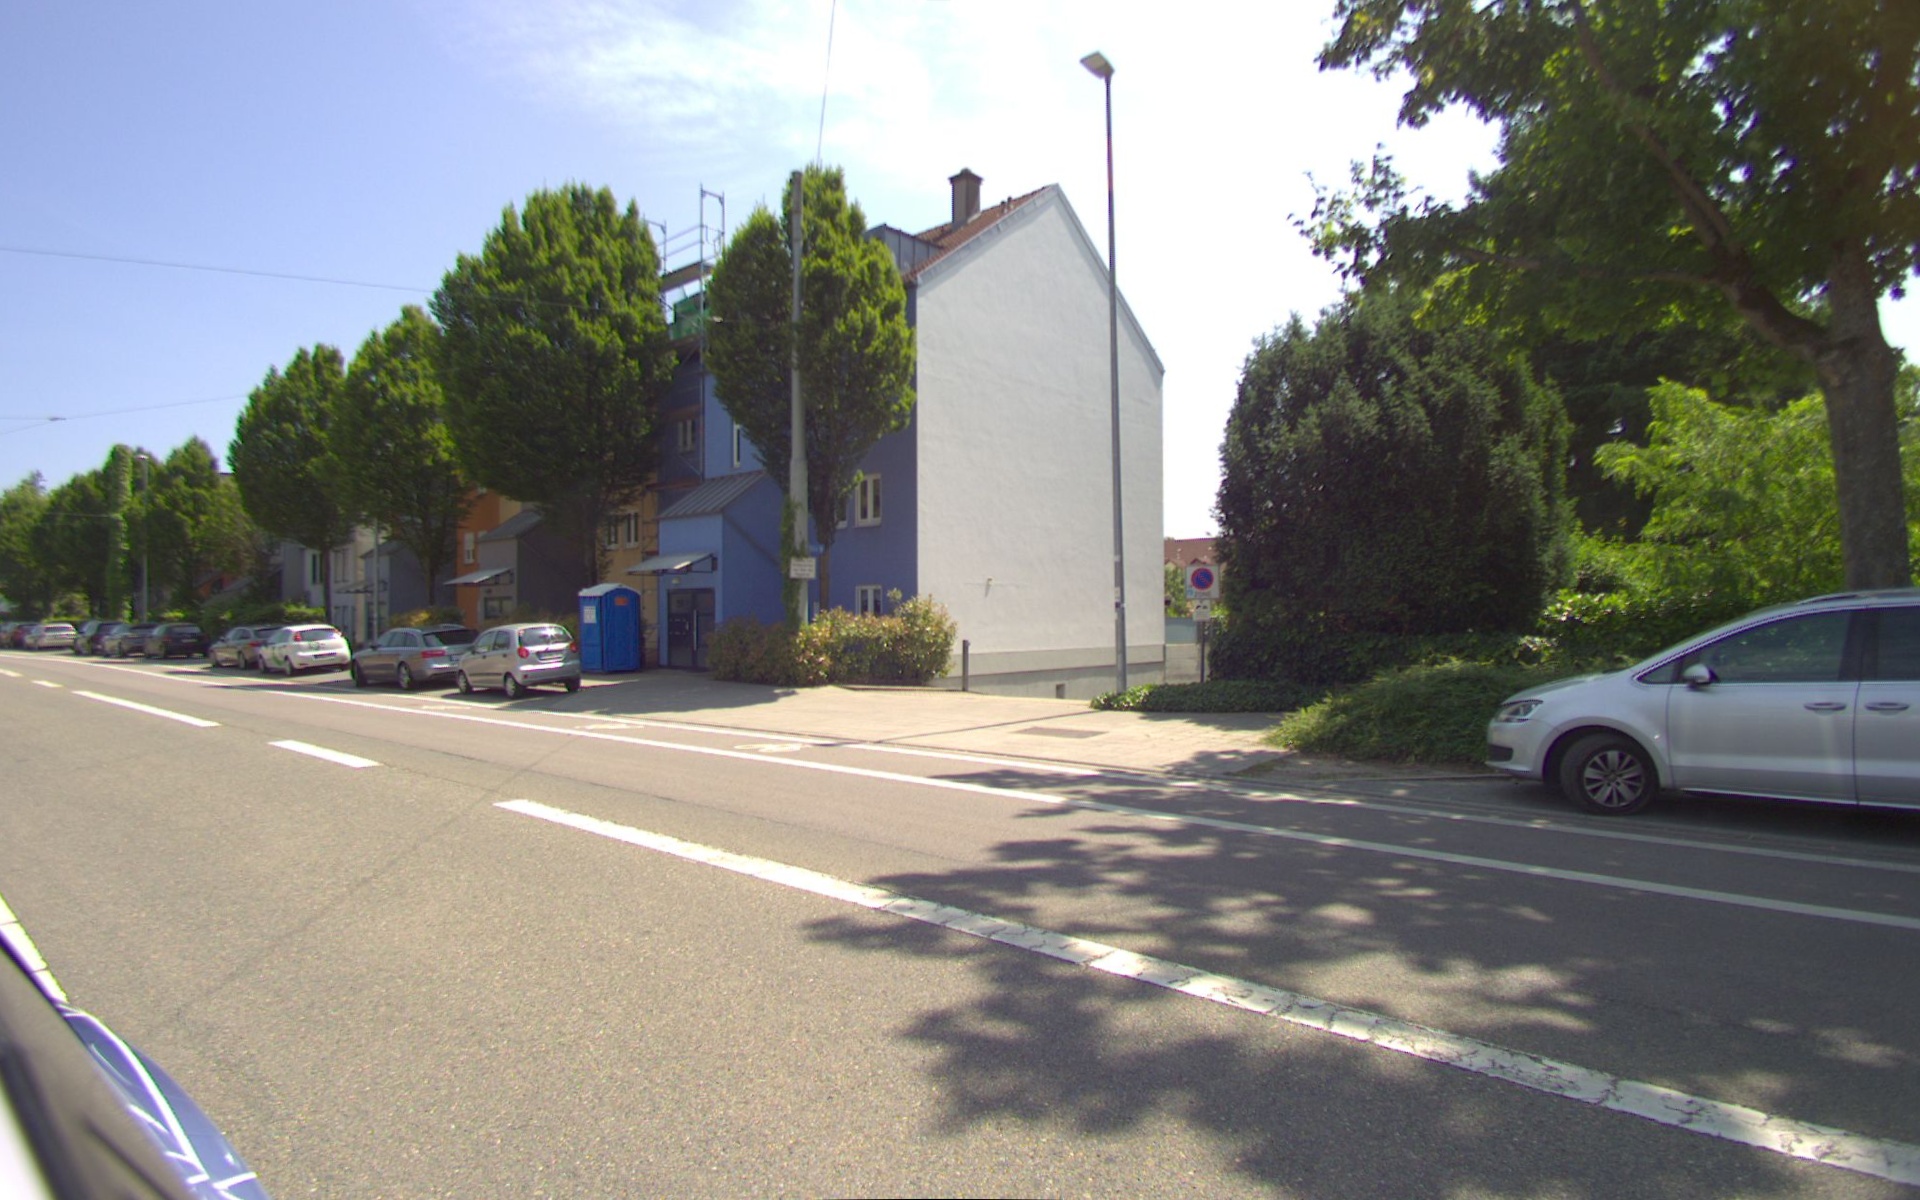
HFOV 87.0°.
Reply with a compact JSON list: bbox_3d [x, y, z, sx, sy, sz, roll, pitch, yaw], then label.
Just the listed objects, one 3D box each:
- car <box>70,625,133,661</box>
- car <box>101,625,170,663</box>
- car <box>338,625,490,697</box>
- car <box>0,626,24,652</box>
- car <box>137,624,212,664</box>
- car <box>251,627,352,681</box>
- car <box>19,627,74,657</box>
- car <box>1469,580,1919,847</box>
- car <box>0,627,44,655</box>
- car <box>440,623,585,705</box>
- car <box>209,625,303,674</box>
[{"bbox_3d":[-42.169,2.067,49.657,4.079,1.599,1.635,-1,2,40],"label":"car"},{"bbox_3d":[-37.446,1.971,45.908,4.079,1.507,1.635,-1,2,40],"label":"car"},{"bbox_3d":[-13.613,1.452,25.110,4.635,1.507,1.659,-1,2,40],"label":"car"},{"bbox_3d":[-59.751,2.461,62.876,3.467,1.507,1.842,-1,2,40],"label":"car"},{"bbox_3d":[-33.400,1.841,42.988,4.079,1.507,1.635,-1,2,40],"label":"car"},{"bbox_3d":[-20.800,1.659,31.918,3.646,1.507,1.635,-1,2,40],"label":"car"},{"bbox_3d":[-51.218,2.317,56.727,4.079,1.507,1.702,-1,2,40],"label":"car"},{"bbox_3d":[6.538,0.720,7.380,4.687,1.701,1.949,-1,-1,43],"label":"car"},{"bbox_3d":[-55.930,2.418,60.055,3.467,1.507,1.842,-1,2,40],"label":"car"},{"bbox_3d":[-9.681,1.321,21.826,3.279,1.507,1.487,-1,2,40],"label":"car"},{"bbox_3d":[-24.718,1.680,35.475,4.079,1.507,1.635,-1,2,40],"label":"car"}]
